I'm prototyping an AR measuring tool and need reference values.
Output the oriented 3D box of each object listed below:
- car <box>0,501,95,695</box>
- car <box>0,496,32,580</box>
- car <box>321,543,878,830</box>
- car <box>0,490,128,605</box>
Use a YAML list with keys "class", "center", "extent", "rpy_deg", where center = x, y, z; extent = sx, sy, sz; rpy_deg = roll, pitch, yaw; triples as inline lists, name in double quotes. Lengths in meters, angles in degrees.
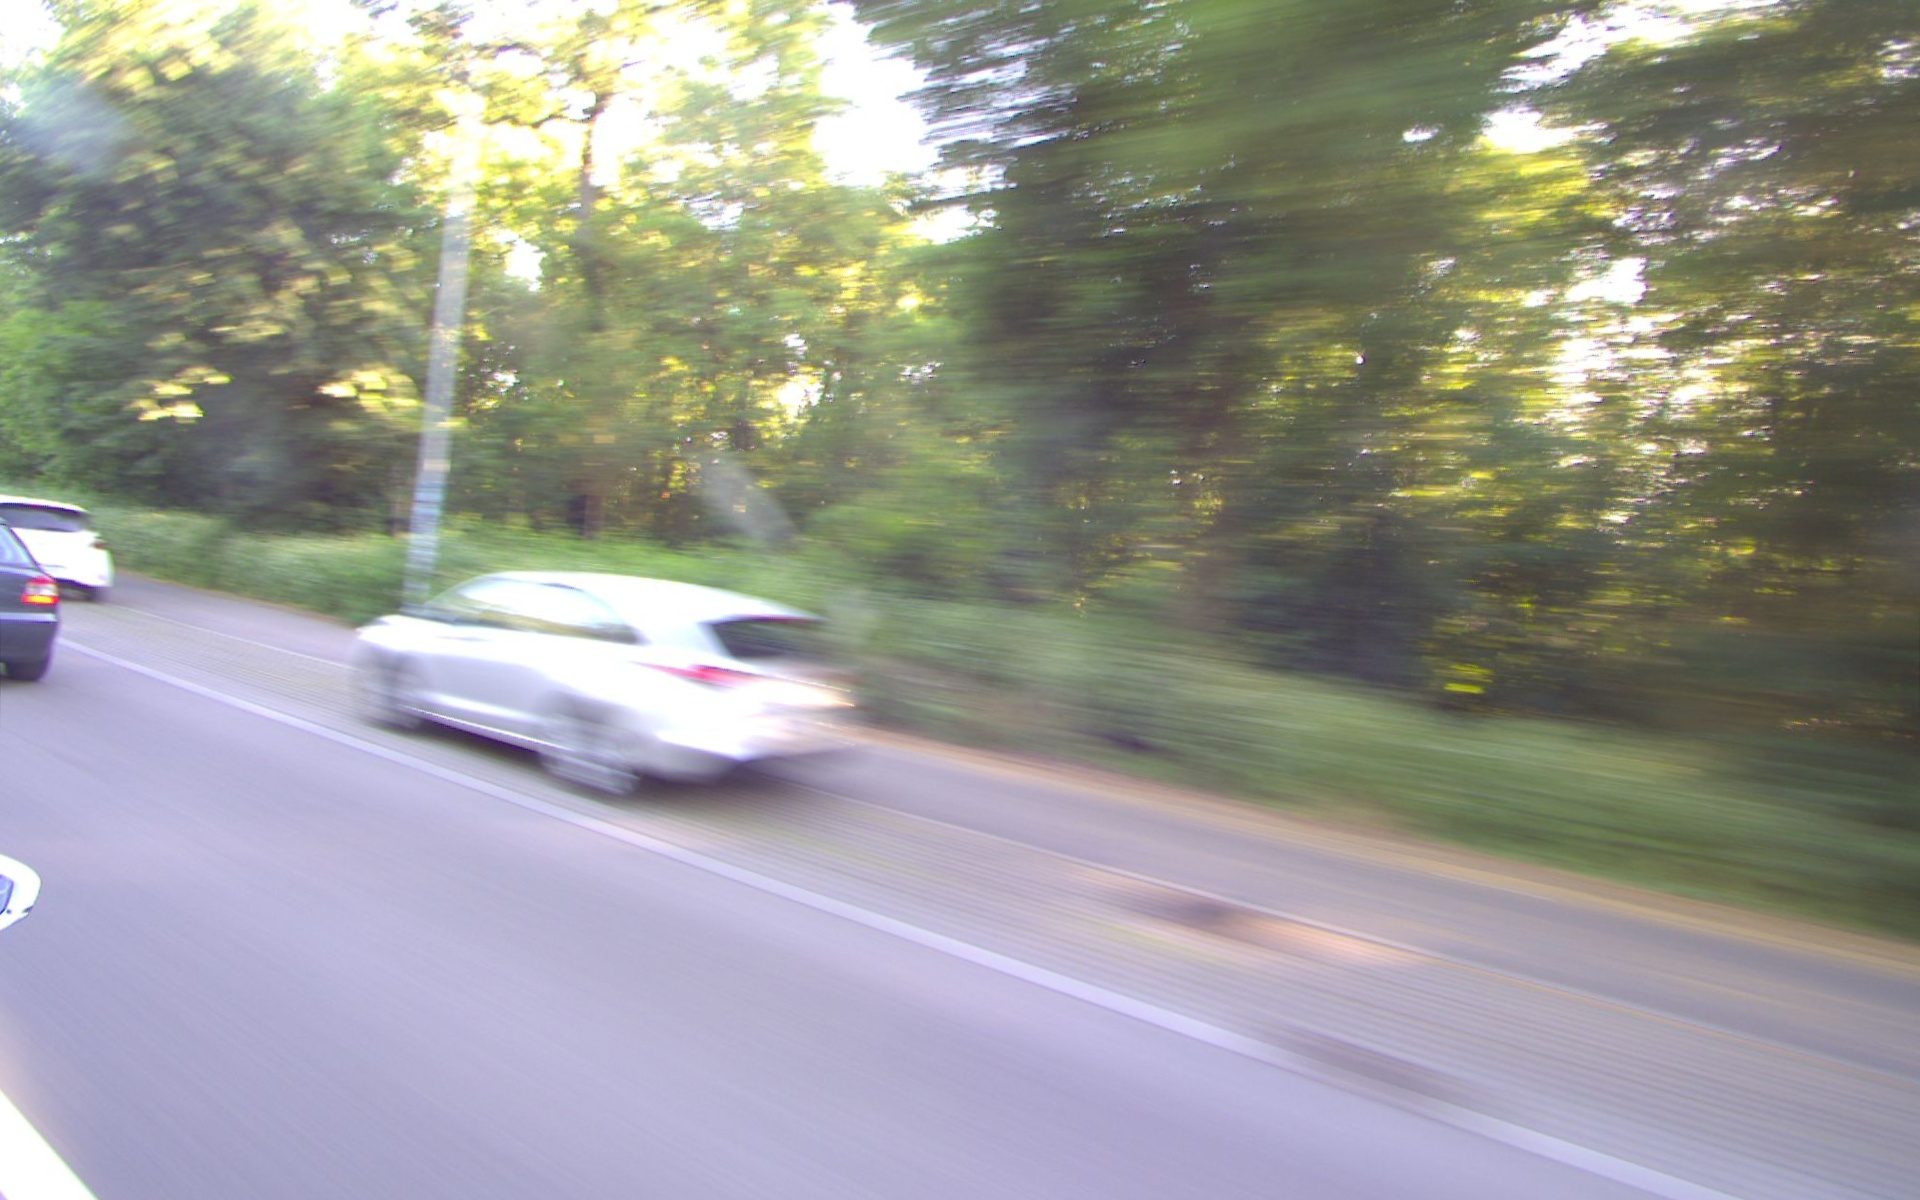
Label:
- class: "car"
  center: [-9.193, -0.231, 8.501]
  extent: [4.023, 1.459, 1.729]
  rpy_deg: [7, -1, 33]
- class: "car"
  center: [-18.881, -1.328, 18.517]
  extent: [4.024, 1.427, 1.728]
  rpy_deg: [7, 1, 34]
- class: "car"
  center: [-3.062, 0.502, 8.112]
  extent: [4.591, 1.460, 1.728]
  rpy_deg: [7, 1, 33]
- class: "car"
  center: [-15.105, -0.943, 16.025]
  extent: [4.024, 1.541, 1.729]
  rpy_deg: [7, 0, 34]
